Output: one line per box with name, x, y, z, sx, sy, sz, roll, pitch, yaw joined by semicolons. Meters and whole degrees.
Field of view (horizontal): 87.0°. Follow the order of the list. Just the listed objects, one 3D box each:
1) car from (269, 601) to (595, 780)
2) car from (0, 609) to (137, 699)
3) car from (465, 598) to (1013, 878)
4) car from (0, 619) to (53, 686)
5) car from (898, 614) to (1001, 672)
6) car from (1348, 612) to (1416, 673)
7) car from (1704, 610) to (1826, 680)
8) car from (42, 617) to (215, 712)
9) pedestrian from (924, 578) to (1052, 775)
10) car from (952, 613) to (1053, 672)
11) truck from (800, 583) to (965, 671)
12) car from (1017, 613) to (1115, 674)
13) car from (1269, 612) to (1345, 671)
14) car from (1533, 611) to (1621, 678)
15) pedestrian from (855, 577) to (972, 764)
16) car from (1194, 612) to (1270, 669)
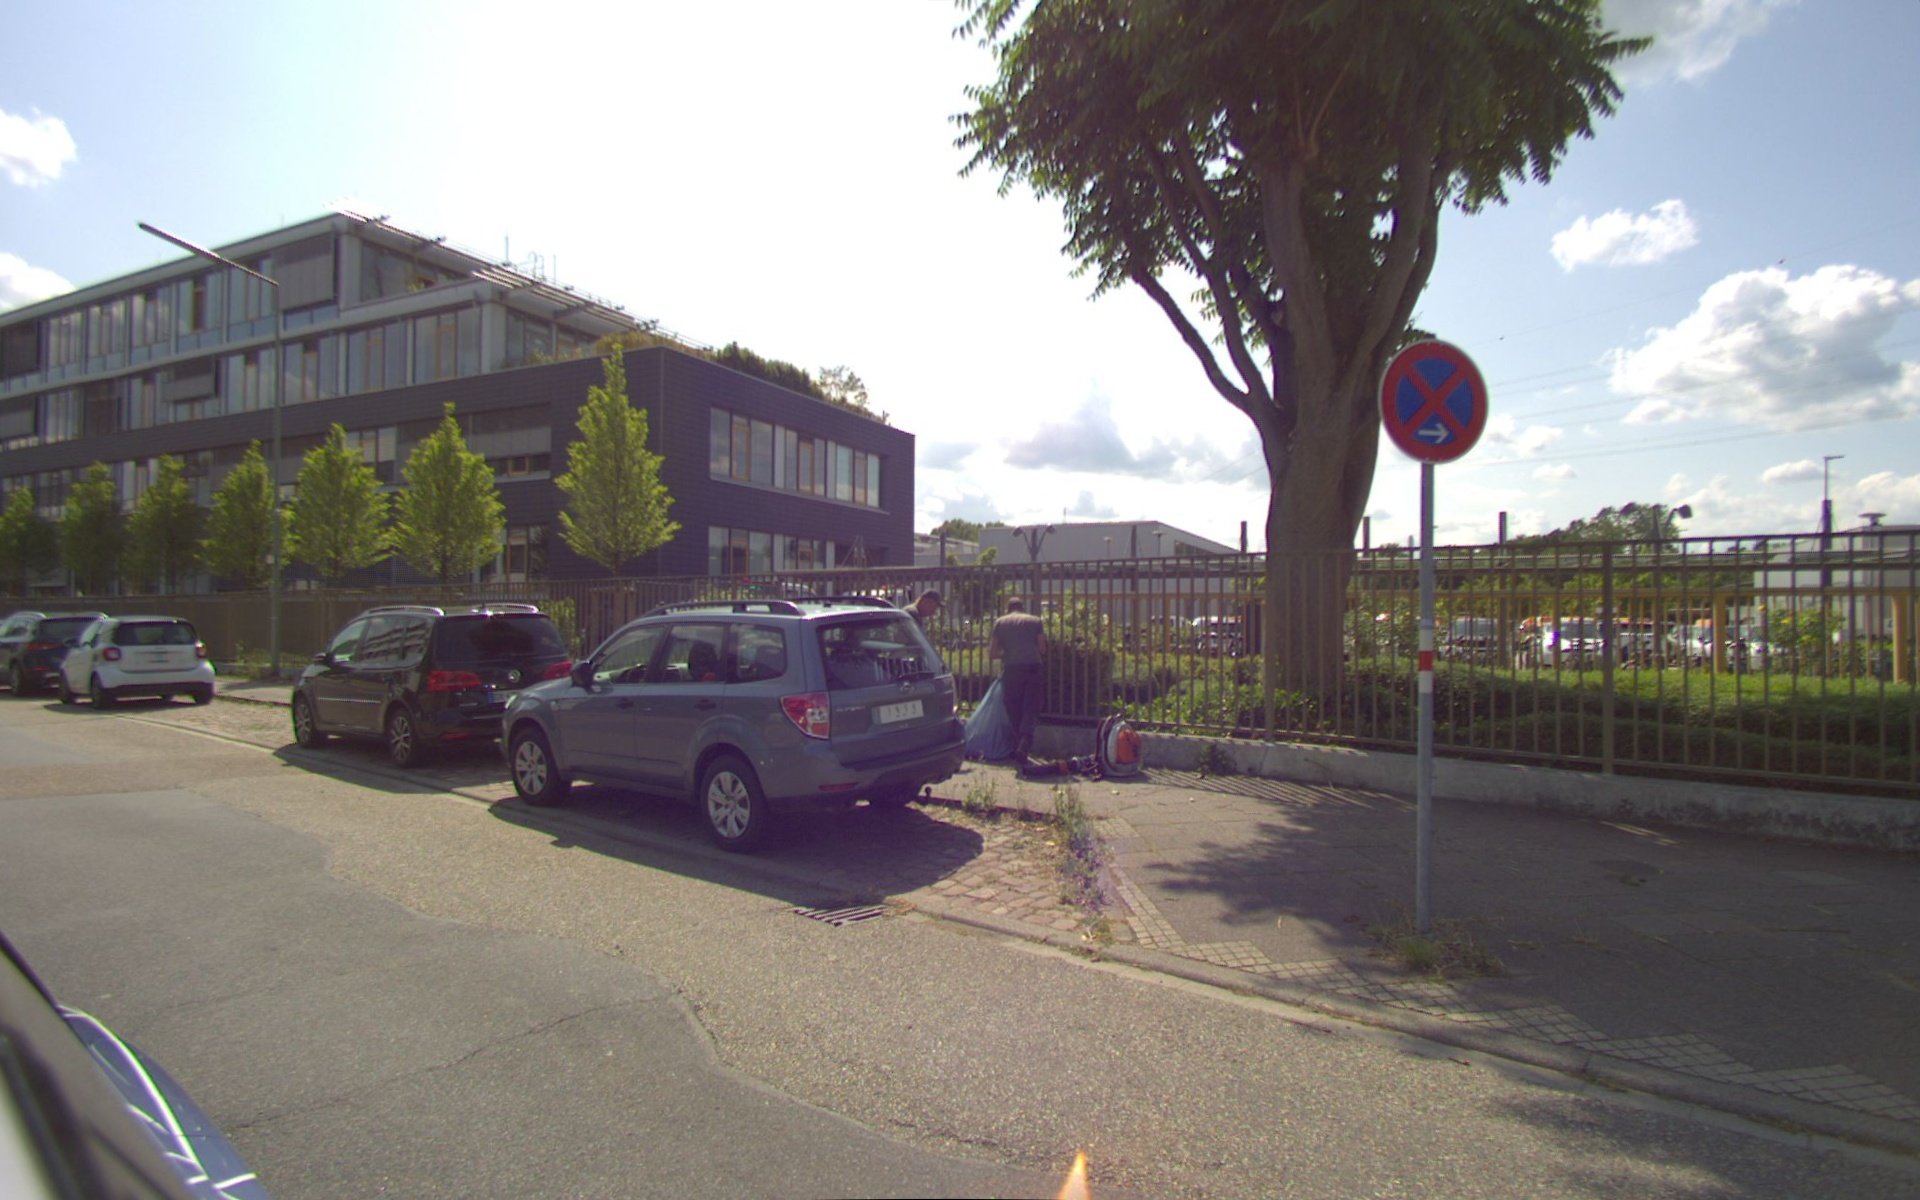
car;-6.199;0.881;11.687;4.224;1.695;1.758;-1;0;38
car;-18.584;1.019;20.520;4.298;1.669;1.720;-1;-1;33
car;-1.990;0.837;8.177;4.683;1.663;1.782;-1;0;38
car;-22.836;1.186;23.404;3.916;1.456;1.721;-1;0;31
car;-0.277;1.324;32.352;1.738;1.701;3.965;-1;-1;26
car;13.020;1.240;31.118;1.738;1.701;3.965;-1;0;26
car;21.891;1.159;27.701;1.738;1.701;3.965;-1;0;26
car;-14.737;1.066;17.919;3.067;1.534;1.594;-1;-1;35
pedestrian;0.257;0.659;9.340;0.831;1.704;0.833;-1;0;45
car;1.402;1.301;31.457;1.738;1.701;3.965;-1;-2;26
truck;-2.394;0.899;34.137;2.393;2.678;6.872;-1;-2;27
car;3.266;1.278;30.563;1.738;1.701;3.965;0;-2;25
car;11.115;1.257;32.241;1.739;1.701;3.963;-1;0;27
car;17.525;1.198;28.905;1.738;1.701;3.965;-1;0;26
pedestrian;-0.471;0.666;10.210;0.846;1.774;0.819;-1;0;44
car;8.989;1.276;33.266;1.738;1.701;3.965;-1;0;26
